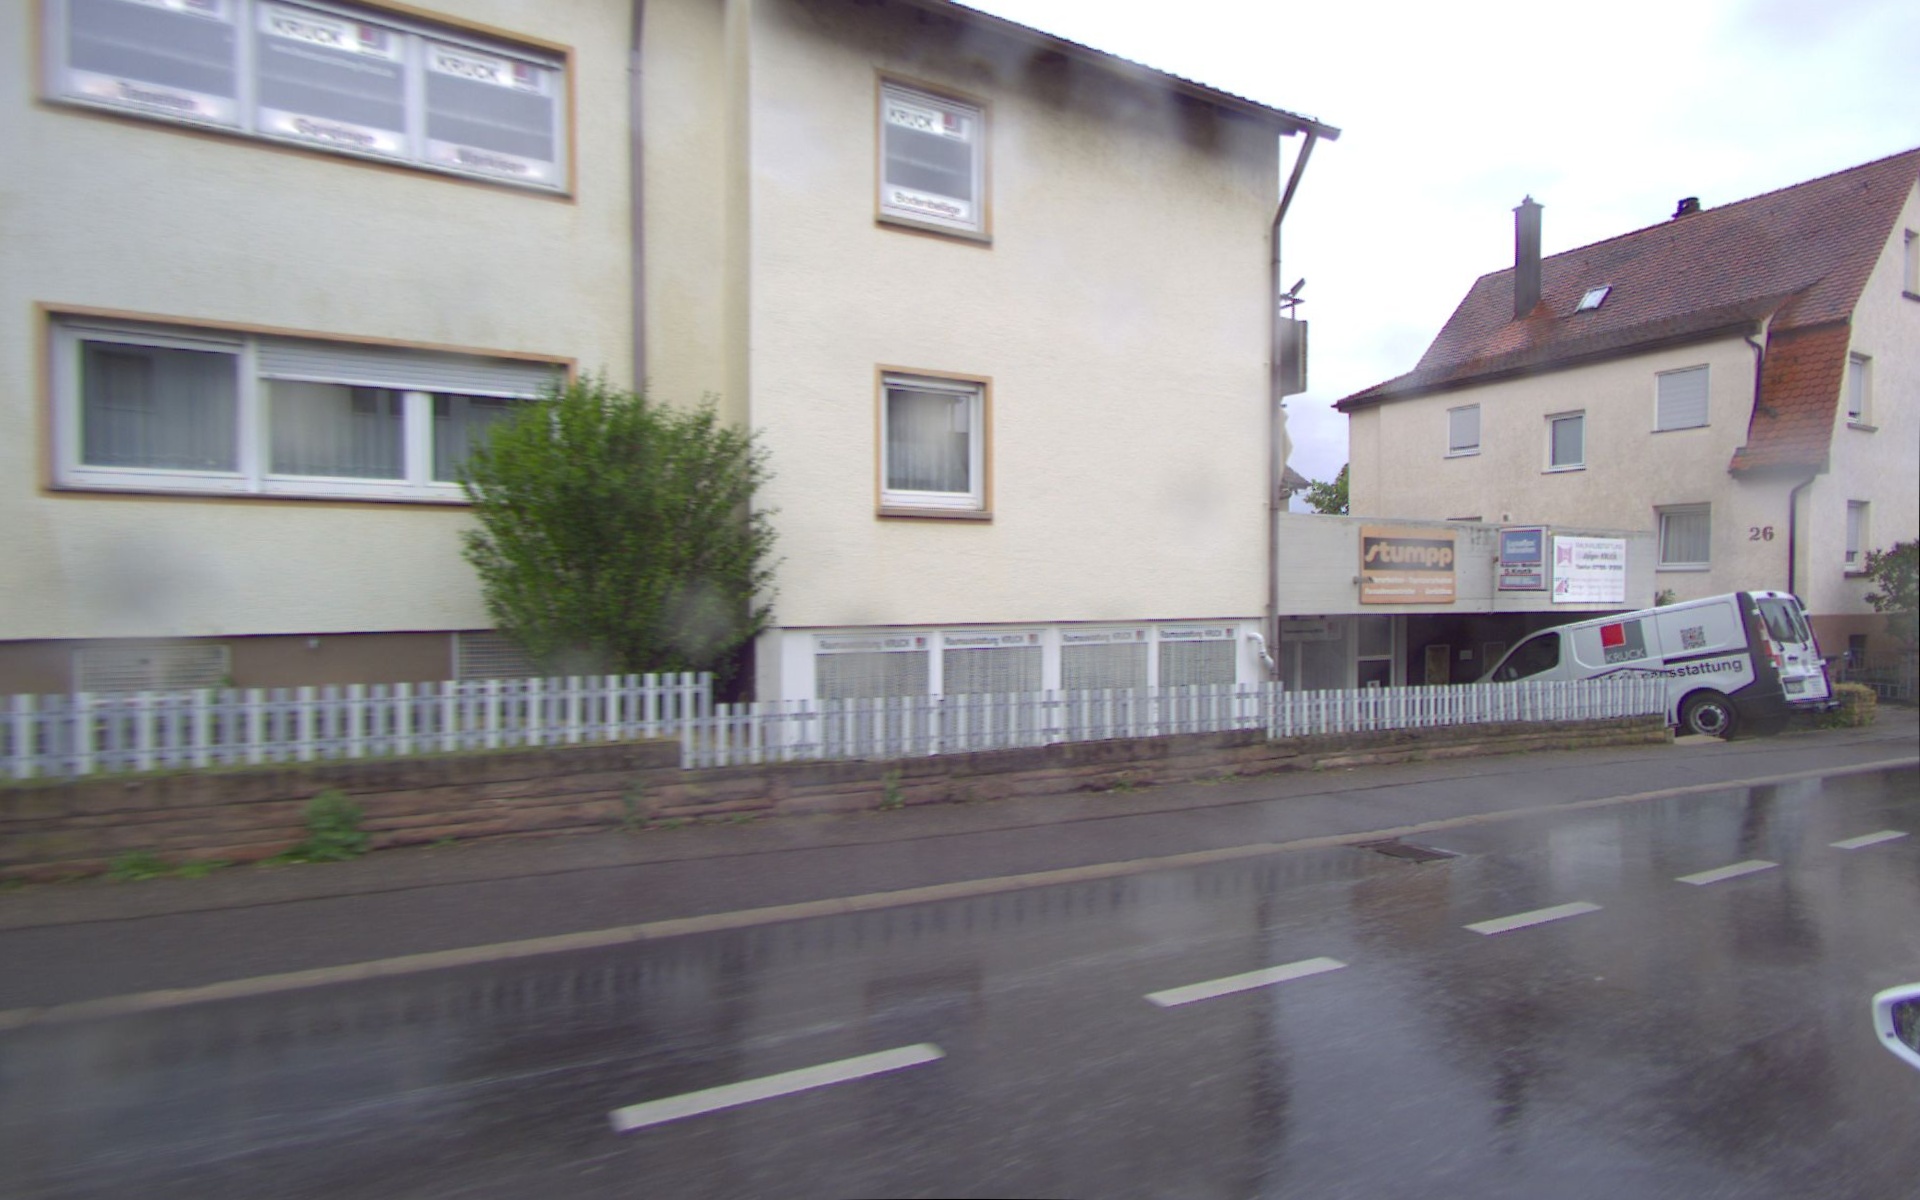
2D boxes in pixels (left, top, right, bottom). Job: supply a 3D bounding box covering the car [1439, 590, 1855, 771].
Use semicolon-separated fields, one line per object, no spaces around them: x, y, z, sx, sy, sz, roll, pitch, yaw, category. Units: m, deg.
10.192;1.344;15.368;2.134;2.036;4.542;-2;-11;-30;car
